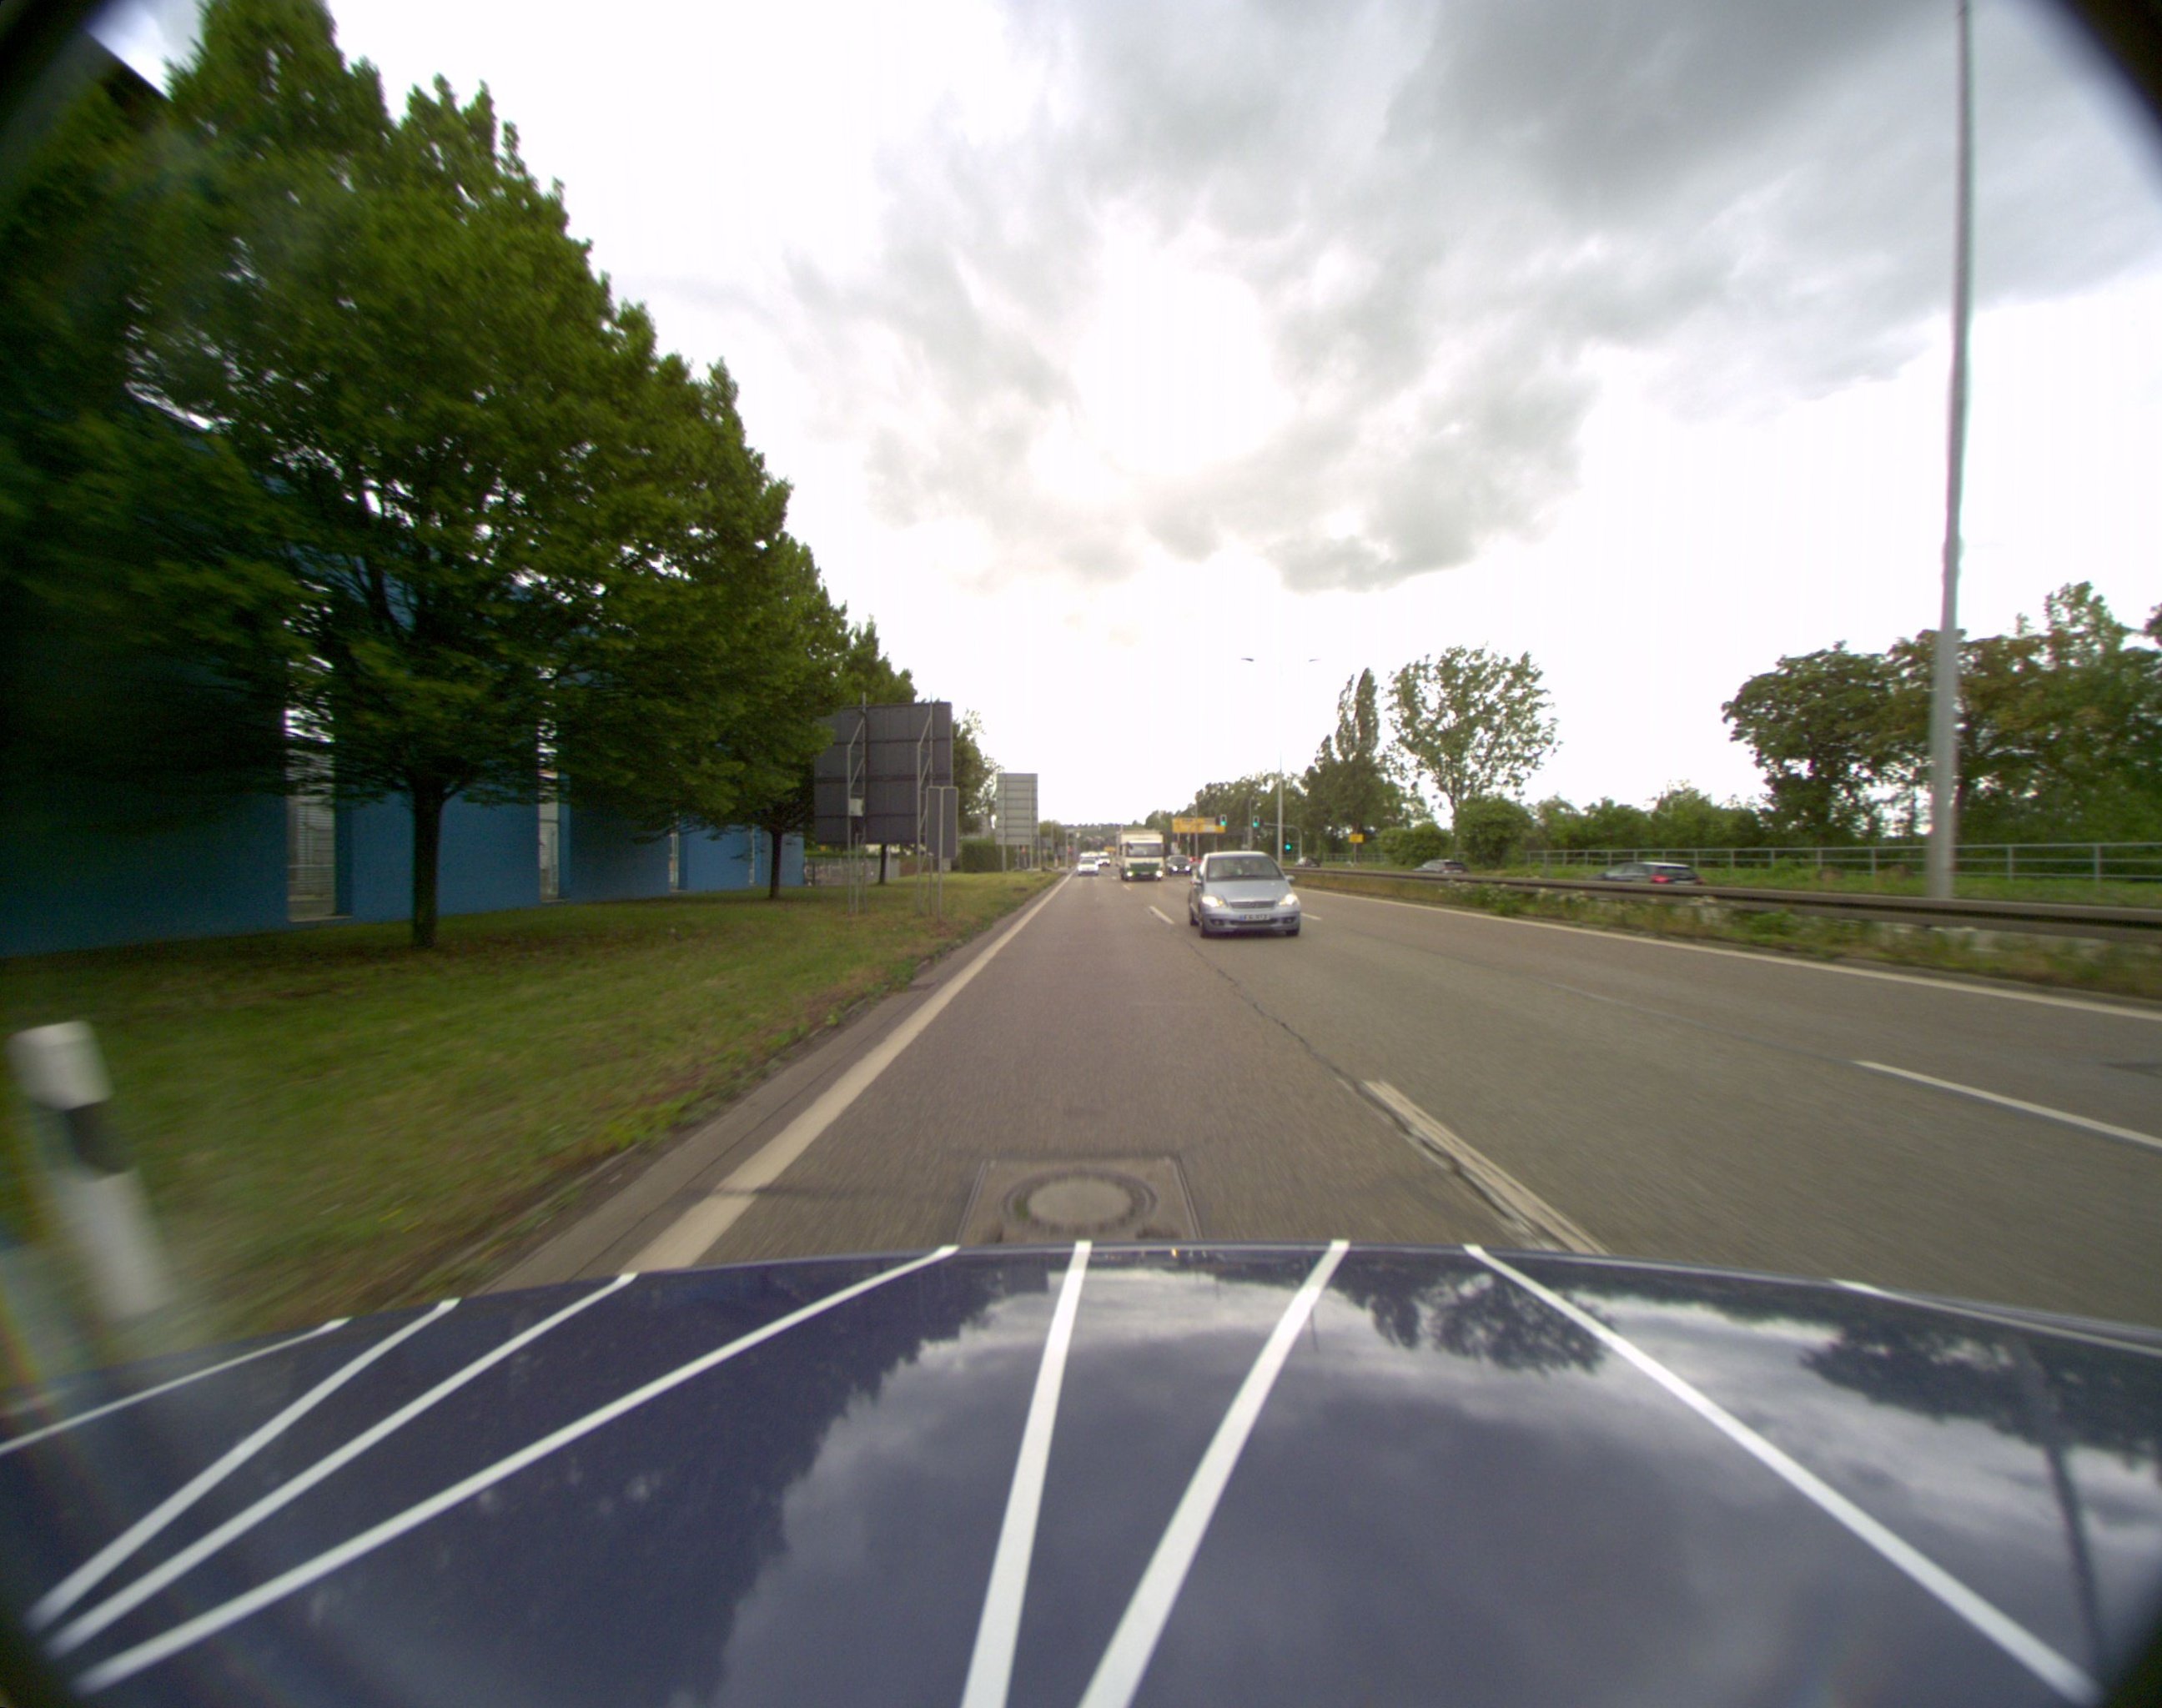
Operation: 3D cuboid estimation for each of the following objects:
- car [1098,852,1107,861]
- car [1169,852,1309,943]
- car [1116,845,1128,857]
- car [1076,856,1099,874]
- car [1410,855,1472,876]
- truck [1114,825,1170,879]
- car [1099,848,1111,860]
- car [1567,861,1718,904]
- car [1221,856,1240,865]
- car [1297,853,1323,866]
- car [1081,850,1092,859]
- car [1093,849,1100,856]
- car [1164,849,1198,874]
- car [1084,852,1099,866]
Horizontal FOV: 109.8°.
[{"bbox_3d":[4.736,0.525,168.419,1.949,1.811,4.000,-1,0,0],"label":"car"},{"bbox_3d":[2.950,0.757,15.097,1.883,1.530,4.146,-1,0,0],"label":"car"},{"bbox_3d":[7.566,-0.523,141.709,1.949,2.176,4.000,-1,0,0],"label":"car"},{"bbox_3d":[0.584,0.951,66.680,1.949,1.516,4.000,-1,0,0],"label":"car"},{"bbox_3d":[22.893,0.724,48.520,1.664,1.291,4.788,-1,0,0],"label":"car"},{"bbox_3d":[3.860,-0.074,50.864,2.657,3.120,12.508,-1,0,0],"label":"truck"},{"bbox_3d":[4.291,0.073,137.437,1.949,2.176,4.000,-1,0,0],"label":"car"},{"bbox_3d":[19.154,0.918,26.249,1.664,1.291,4.788,-1,0,0],"label":"car"},{"bbox_3d":[17.346,0.758,88.306,1.549,1.099,4.067,-1,0,1],"label":"car"},{"bbox_3d":[23.755,0.595,78.900,1.582,1.291,4.061,-1,0,1],"label":"car"},{"bbox_3d":[1.075,0.048,151.202,1.949,1.811,4.000,-1,0,0],"label":"car"},{"bbox_3d":[4.420,-0.408,220.382,1.949,1.811,4.000,-1,0,0],"label":"car"},{"bbox_3d":[7.282,0.556,55.716,1.883,1.714,4.146,-1,0,0],"label":"car"},{"bbox_3d":[1.385,0.623,98.810,1.883,1.714,4.146,-1,0,0],"label":"car"}]
